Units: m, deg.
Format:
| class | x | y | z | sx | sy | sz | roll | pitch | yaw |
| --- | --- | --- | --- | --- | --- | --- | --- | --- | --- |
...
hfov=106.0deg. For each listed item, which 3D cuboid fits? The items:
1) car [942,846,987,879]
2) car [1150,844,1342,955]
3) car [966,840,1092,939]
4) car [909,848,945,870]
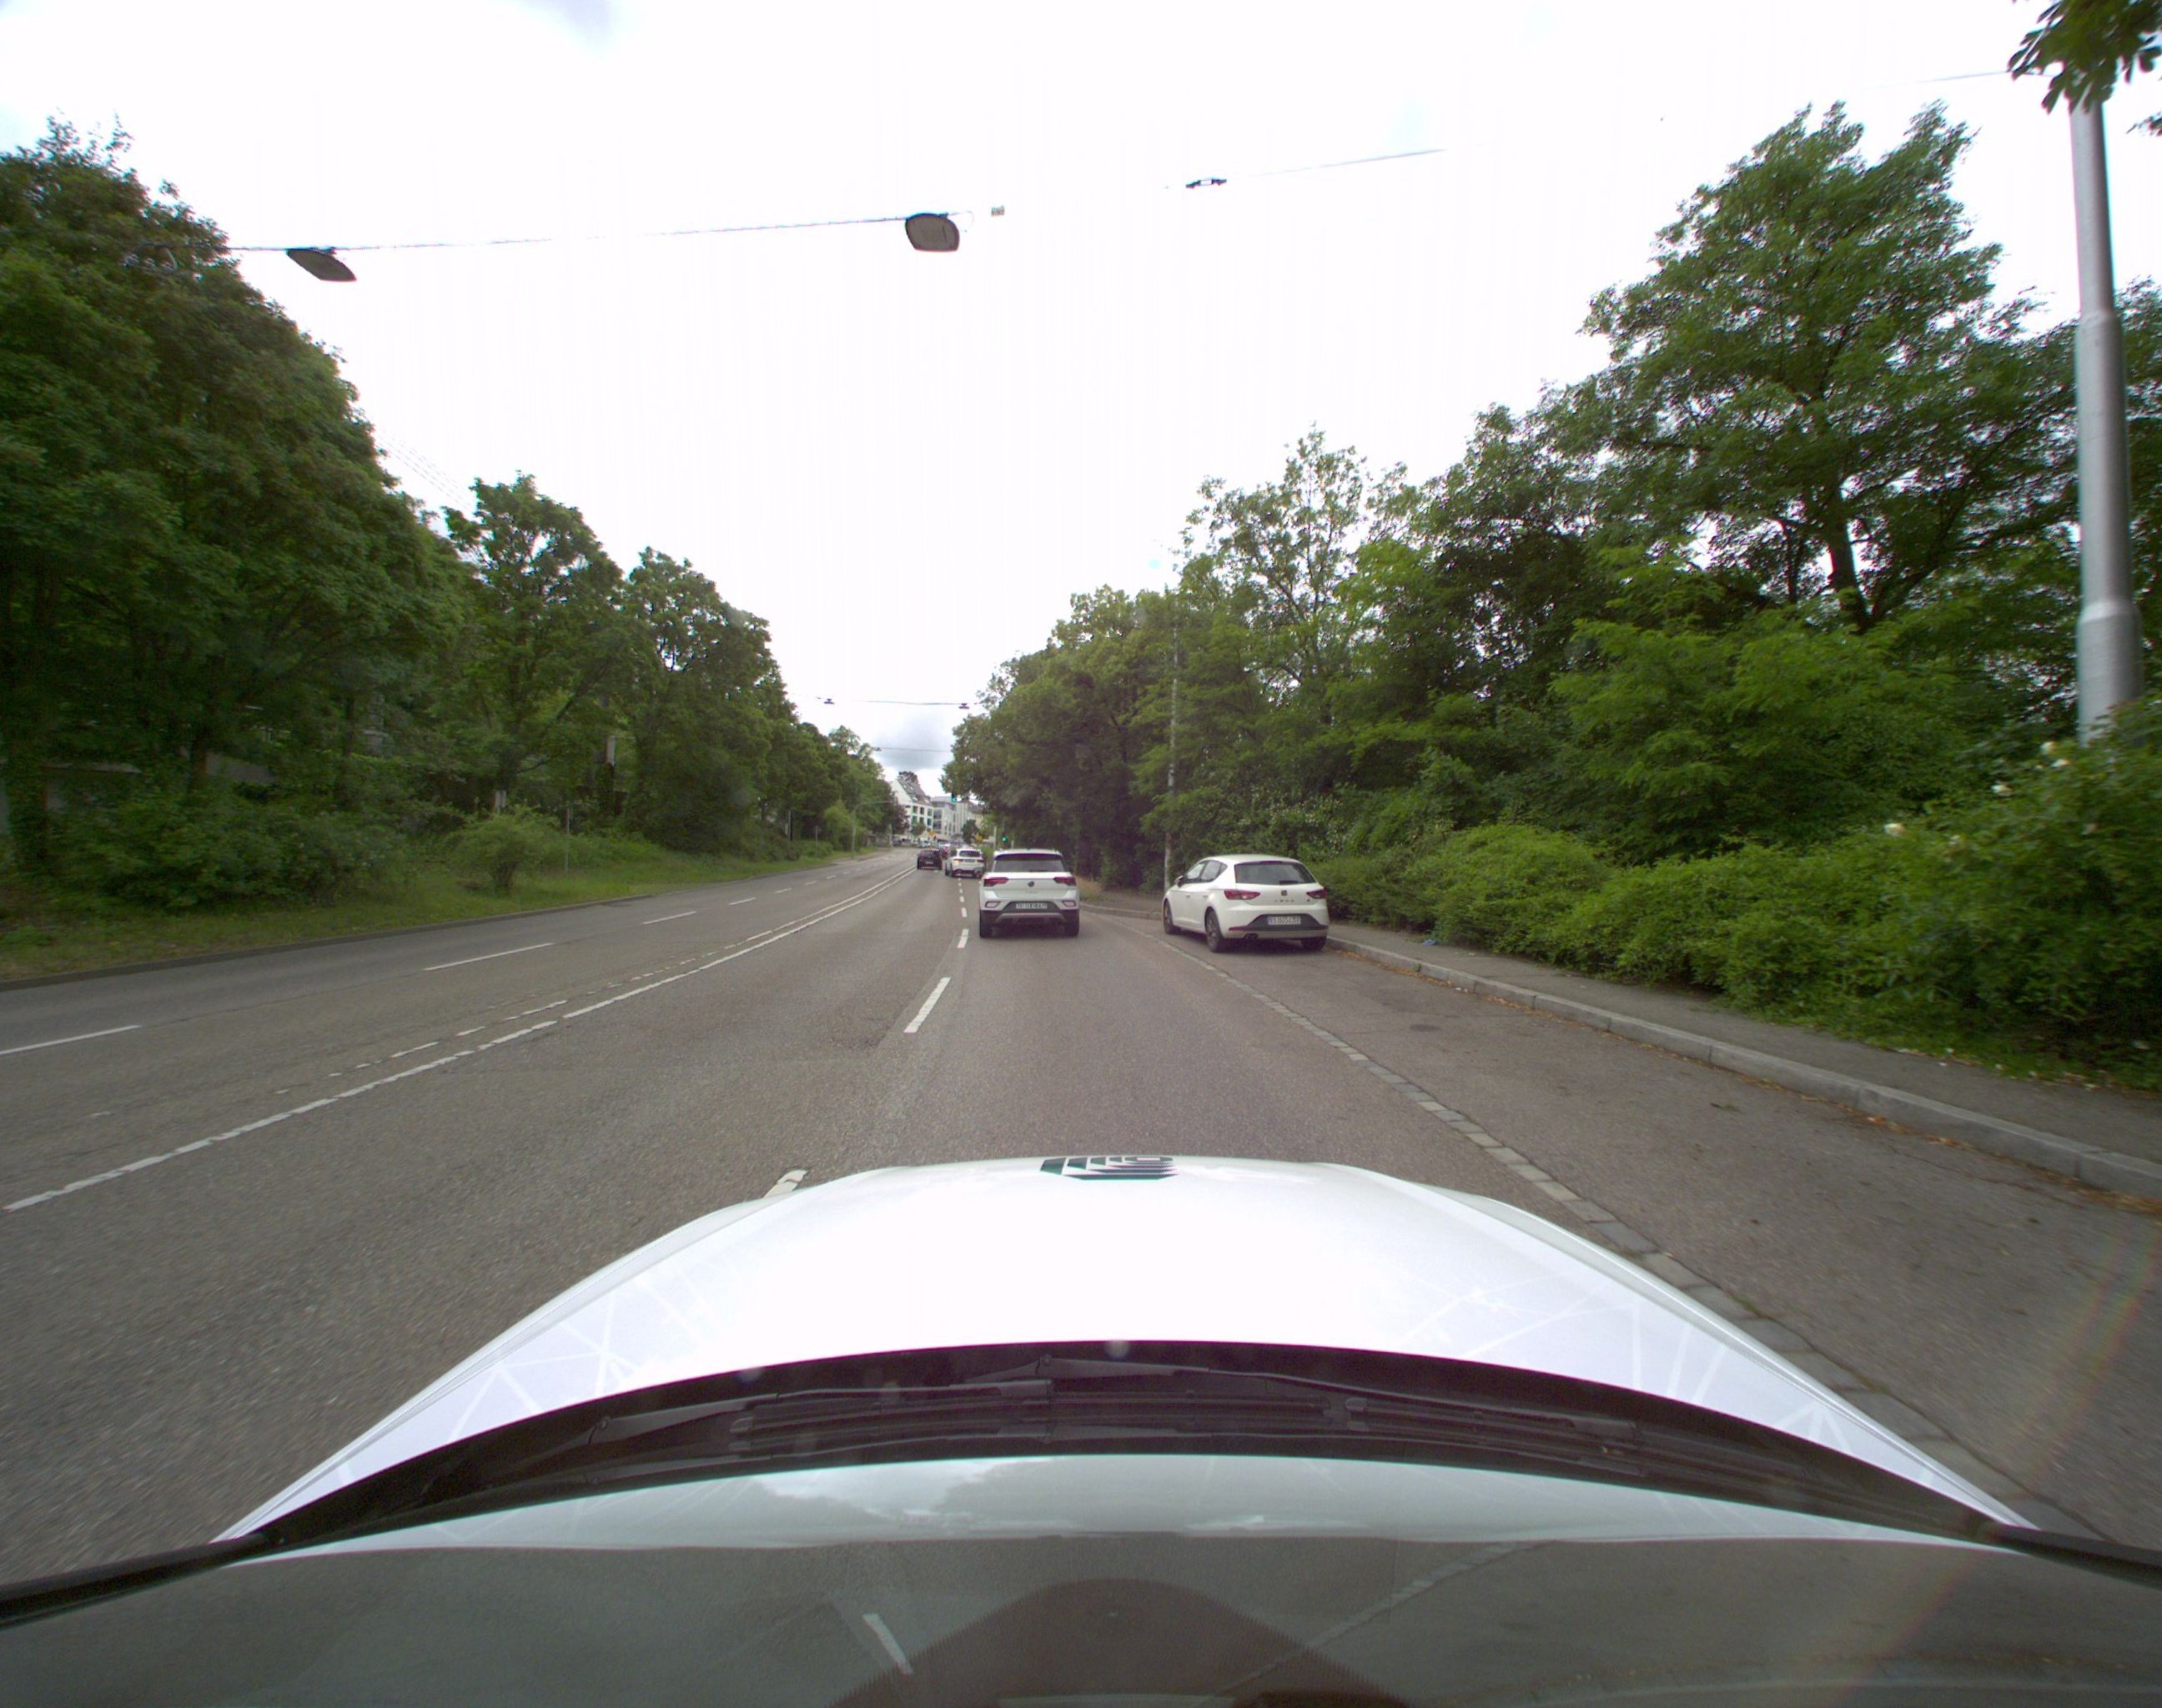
| class | x | y | z | sx | sy | sz | roll | pitch | yaw |
| --- | --- | --- | --- | --- | --- | --- | --- | --- | --- |
| car | -6.674 | 0.461 | 46.431 | 1.856 | 1.702 | 3.976 | -1 | 2 | -18 |
| car | 2.514 | 0.616 | 13.712 | 1.731 | 1.482 | 4.690 | 1 | 1 | -7 |
| car | -1.141 | 0.588 | 15.645 | 2.001 | 1.596 | 3.987 | -2 | 0 | -10 |
| car | -11.157 | 0.346 | 58.761 | 1.956 | 1.466 | 3.974 | 1 | 1 | -20 |
